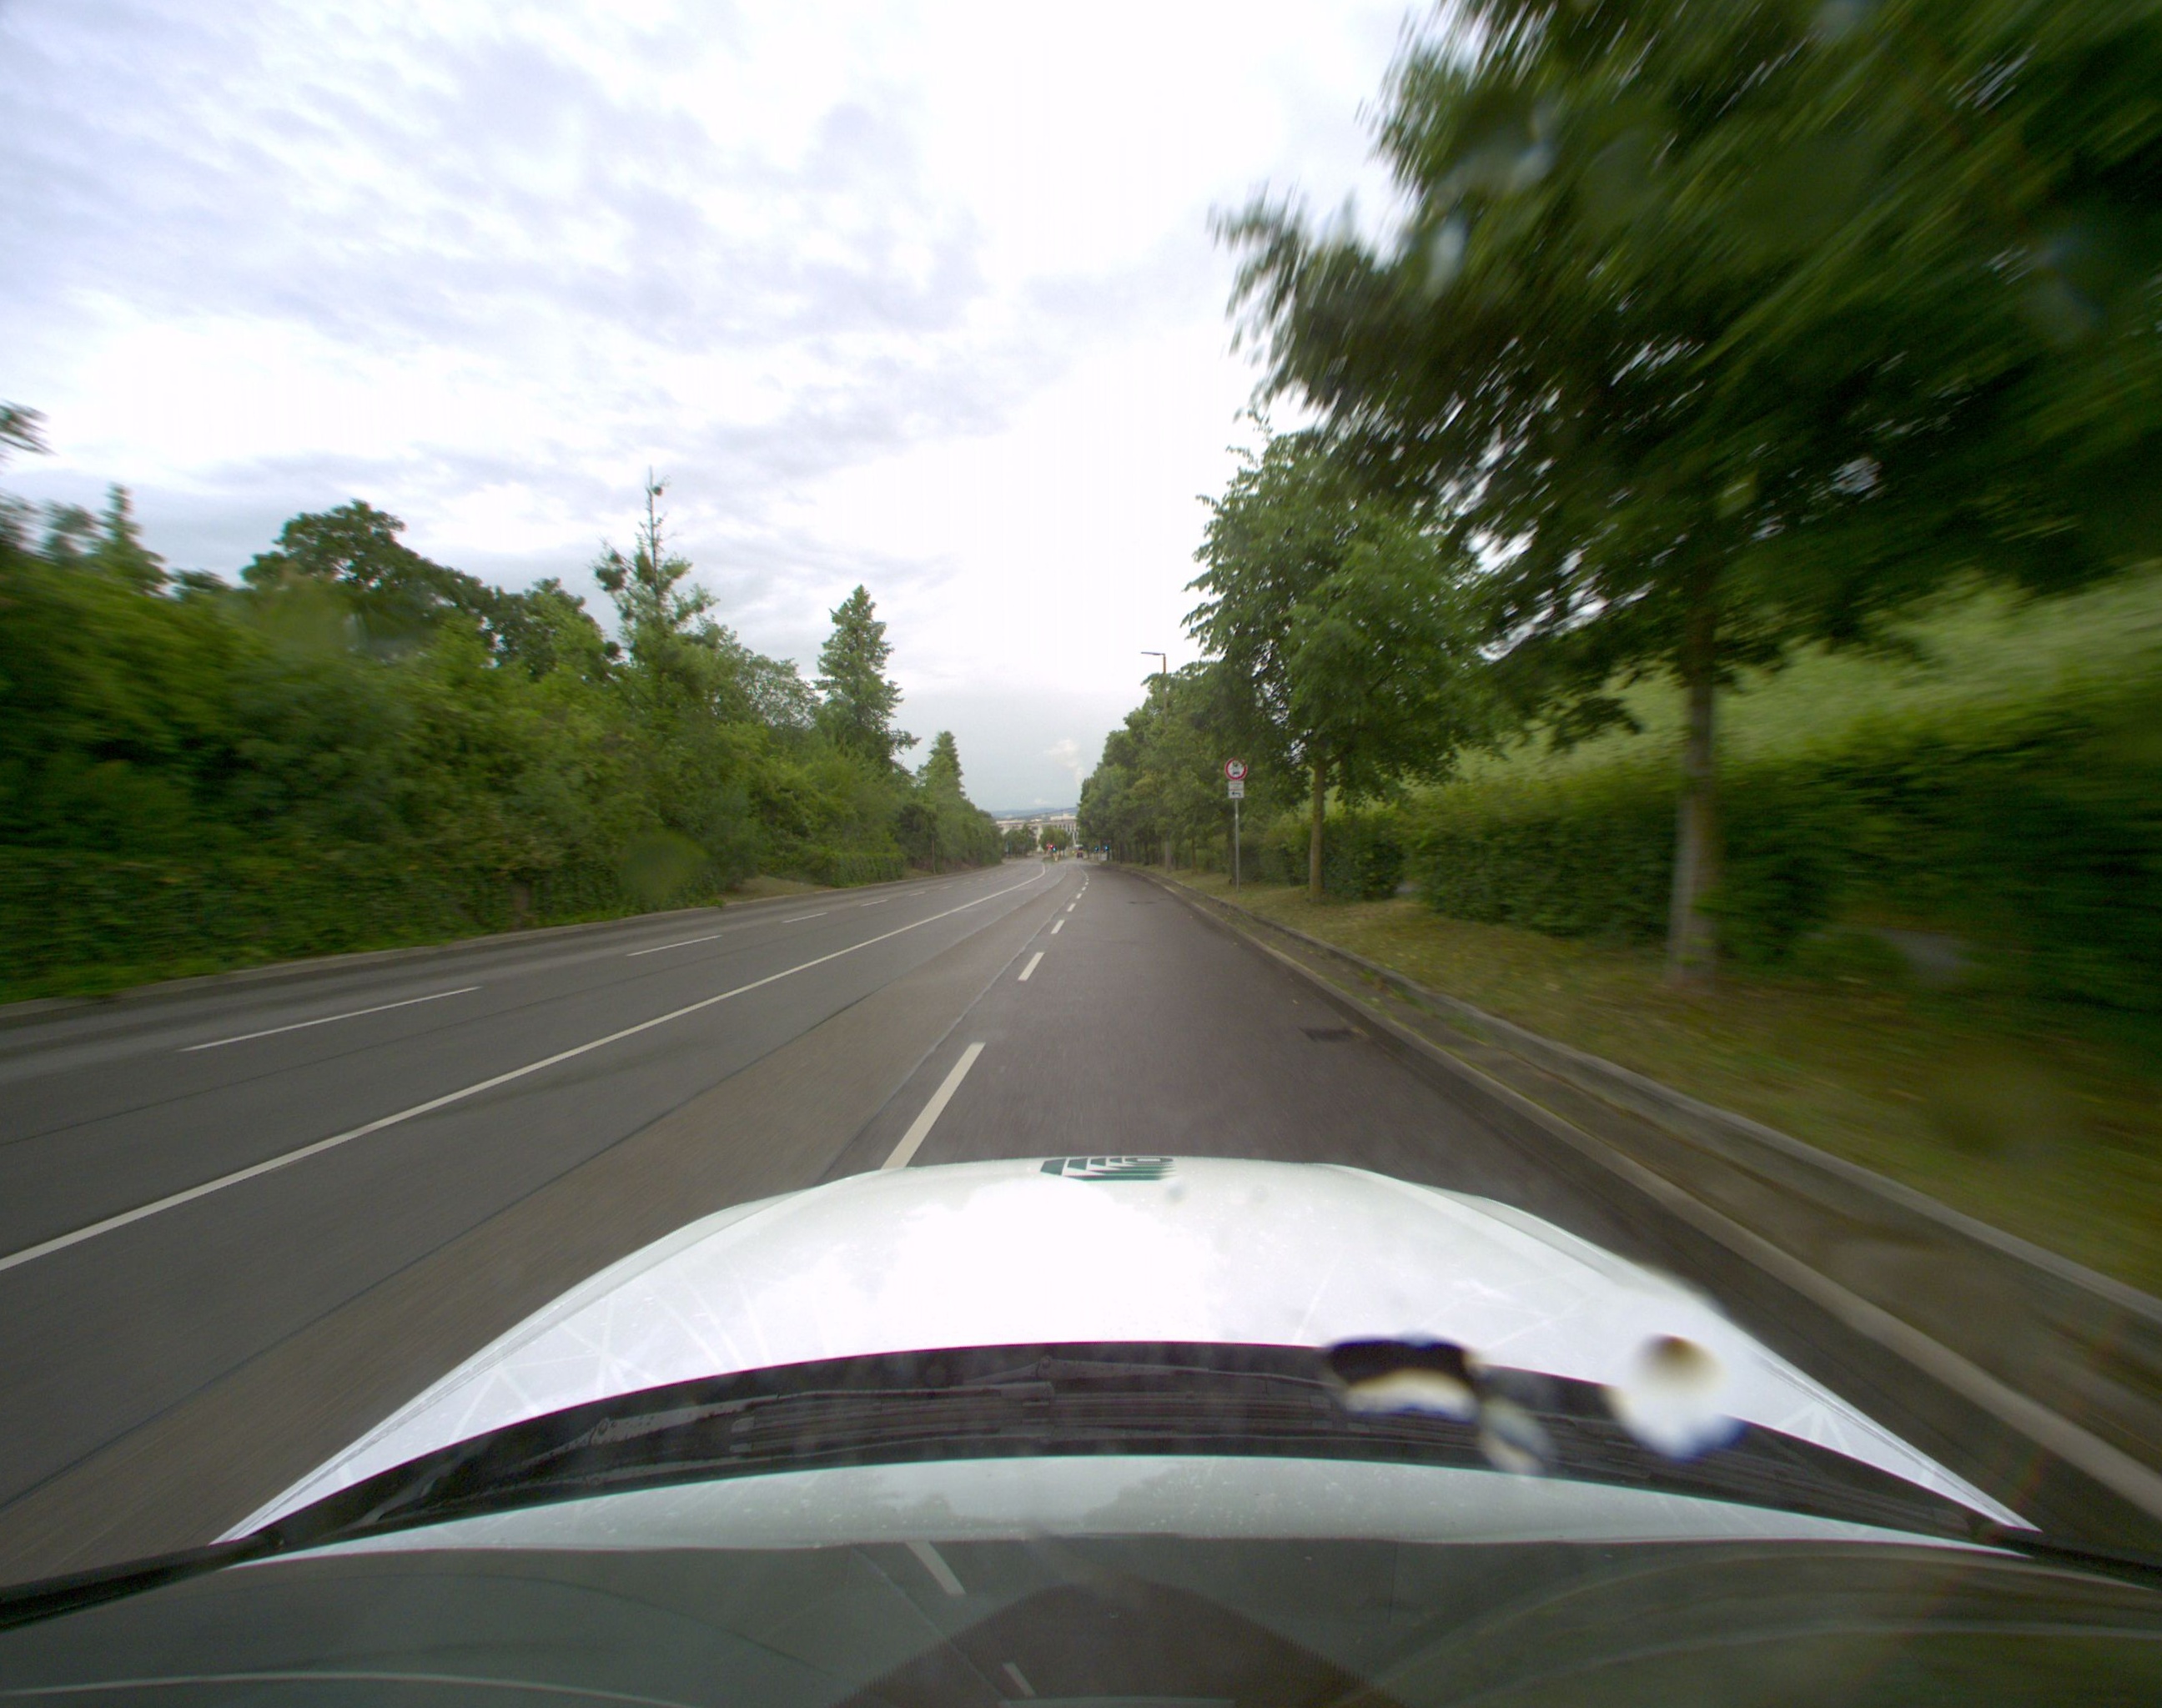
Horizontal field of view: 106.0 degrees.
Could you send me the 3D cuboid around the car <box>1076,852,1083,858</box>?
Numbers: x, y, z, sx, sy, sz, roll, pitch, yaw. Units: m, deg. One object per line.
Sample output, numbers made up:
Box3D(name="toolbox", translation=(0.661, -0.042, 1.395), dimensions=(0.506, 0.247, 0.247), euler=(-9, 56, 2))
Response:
Box3D(name="car", translation=(-0.507, 0.280, 228.006), dimensions=(1.842, 1.702, 3.794), euler=(0, -1, 2))
